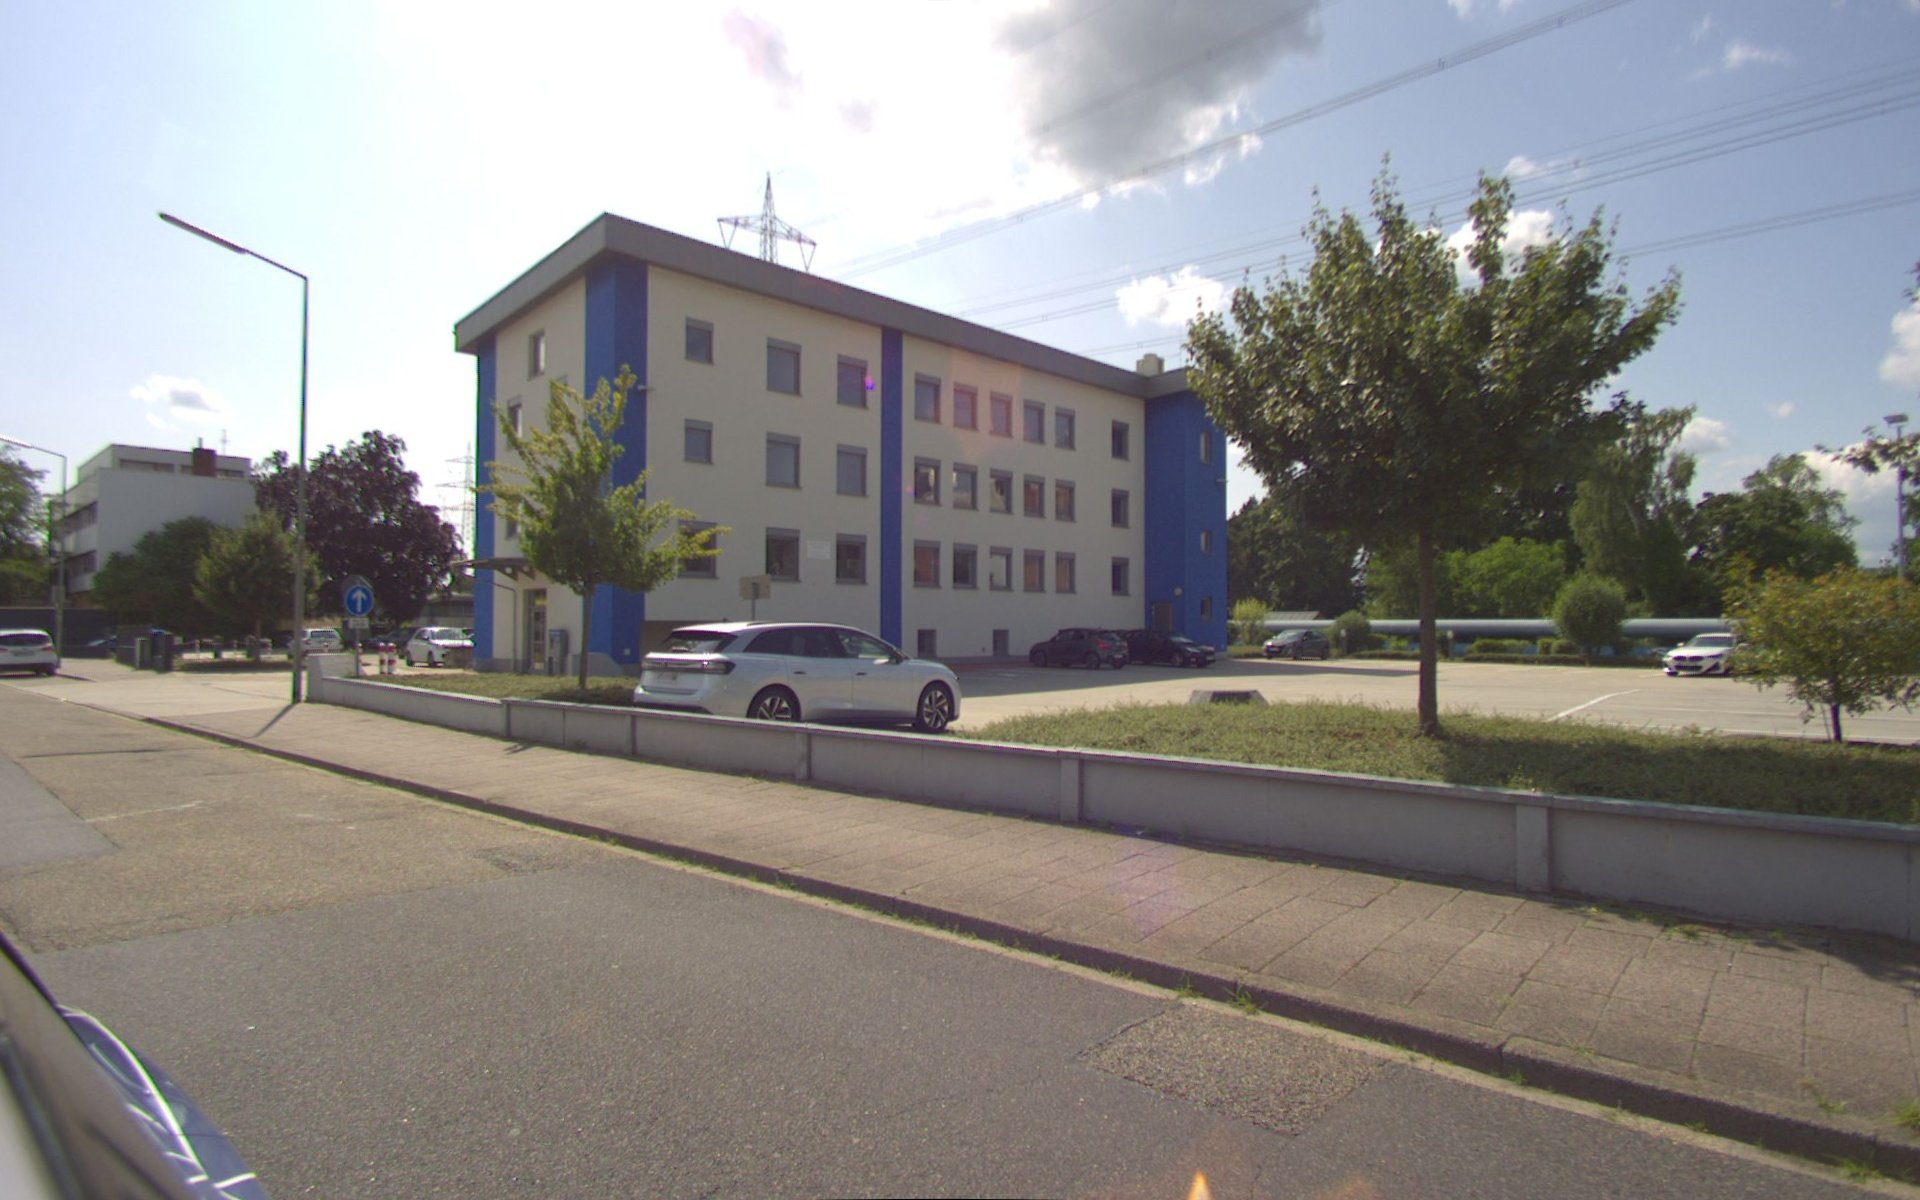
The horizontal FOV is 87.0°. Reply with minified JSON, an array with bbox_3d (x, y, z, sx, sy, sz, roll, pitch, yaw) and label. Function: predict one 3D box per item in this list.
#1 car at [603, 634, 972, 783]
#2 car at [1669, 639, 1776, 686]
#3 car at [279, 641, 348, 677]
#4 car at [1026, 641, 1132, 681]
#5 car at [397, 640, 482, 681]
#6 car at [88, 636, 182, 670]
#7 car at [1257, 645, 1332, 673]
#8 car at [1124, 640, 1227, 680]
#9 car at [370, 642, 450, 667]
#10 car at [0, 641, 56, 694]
[{"bbox_3d":[-2.113,1.278,13.593,1.999,1.615,4.705,-2,-2,41],"label":"car"},{"bbox_3d":[25.539,2.047,33.869,3.763,1.485,1.808,2,-3,-36],"label":"car"},{"bbox_3d":[-31.284,2.827,48.938,1.803,1.649,4.848,3,-3,-44],"label":"car"},{"bbox_3d":[4.279,2.197,36.865,1.544,1.386,3.682,2,-3,-45],"label":"car"},{"bbox_3d":[-20.515,2.354,39.843,3.759,1.518,1.852,-2,-3,44],"label":"car"},{"bbox_3d":[-44.150,2.822,54.190,1.877,1.721,3.610,-2,-3,40],"label":"car"},{"bbox_3d":[16.002,2.785,48.344,3.553,1.261,1.806,2,-3,-41],"label":"car"},{"bbox_3d":[8.362,2.317,39.488,1.544,1.386,3.682,2,-2,-45],"label":"car"},{"bbox_3d":[-34.718,3.408,63.928,4.150,1.513,1.682,3,-4,-45],"label":"car"},{"bbox_3d":[-33.497,2.328,35.663,4.750,1.721,1.848,-2,-2,41],"label":"car"}]
